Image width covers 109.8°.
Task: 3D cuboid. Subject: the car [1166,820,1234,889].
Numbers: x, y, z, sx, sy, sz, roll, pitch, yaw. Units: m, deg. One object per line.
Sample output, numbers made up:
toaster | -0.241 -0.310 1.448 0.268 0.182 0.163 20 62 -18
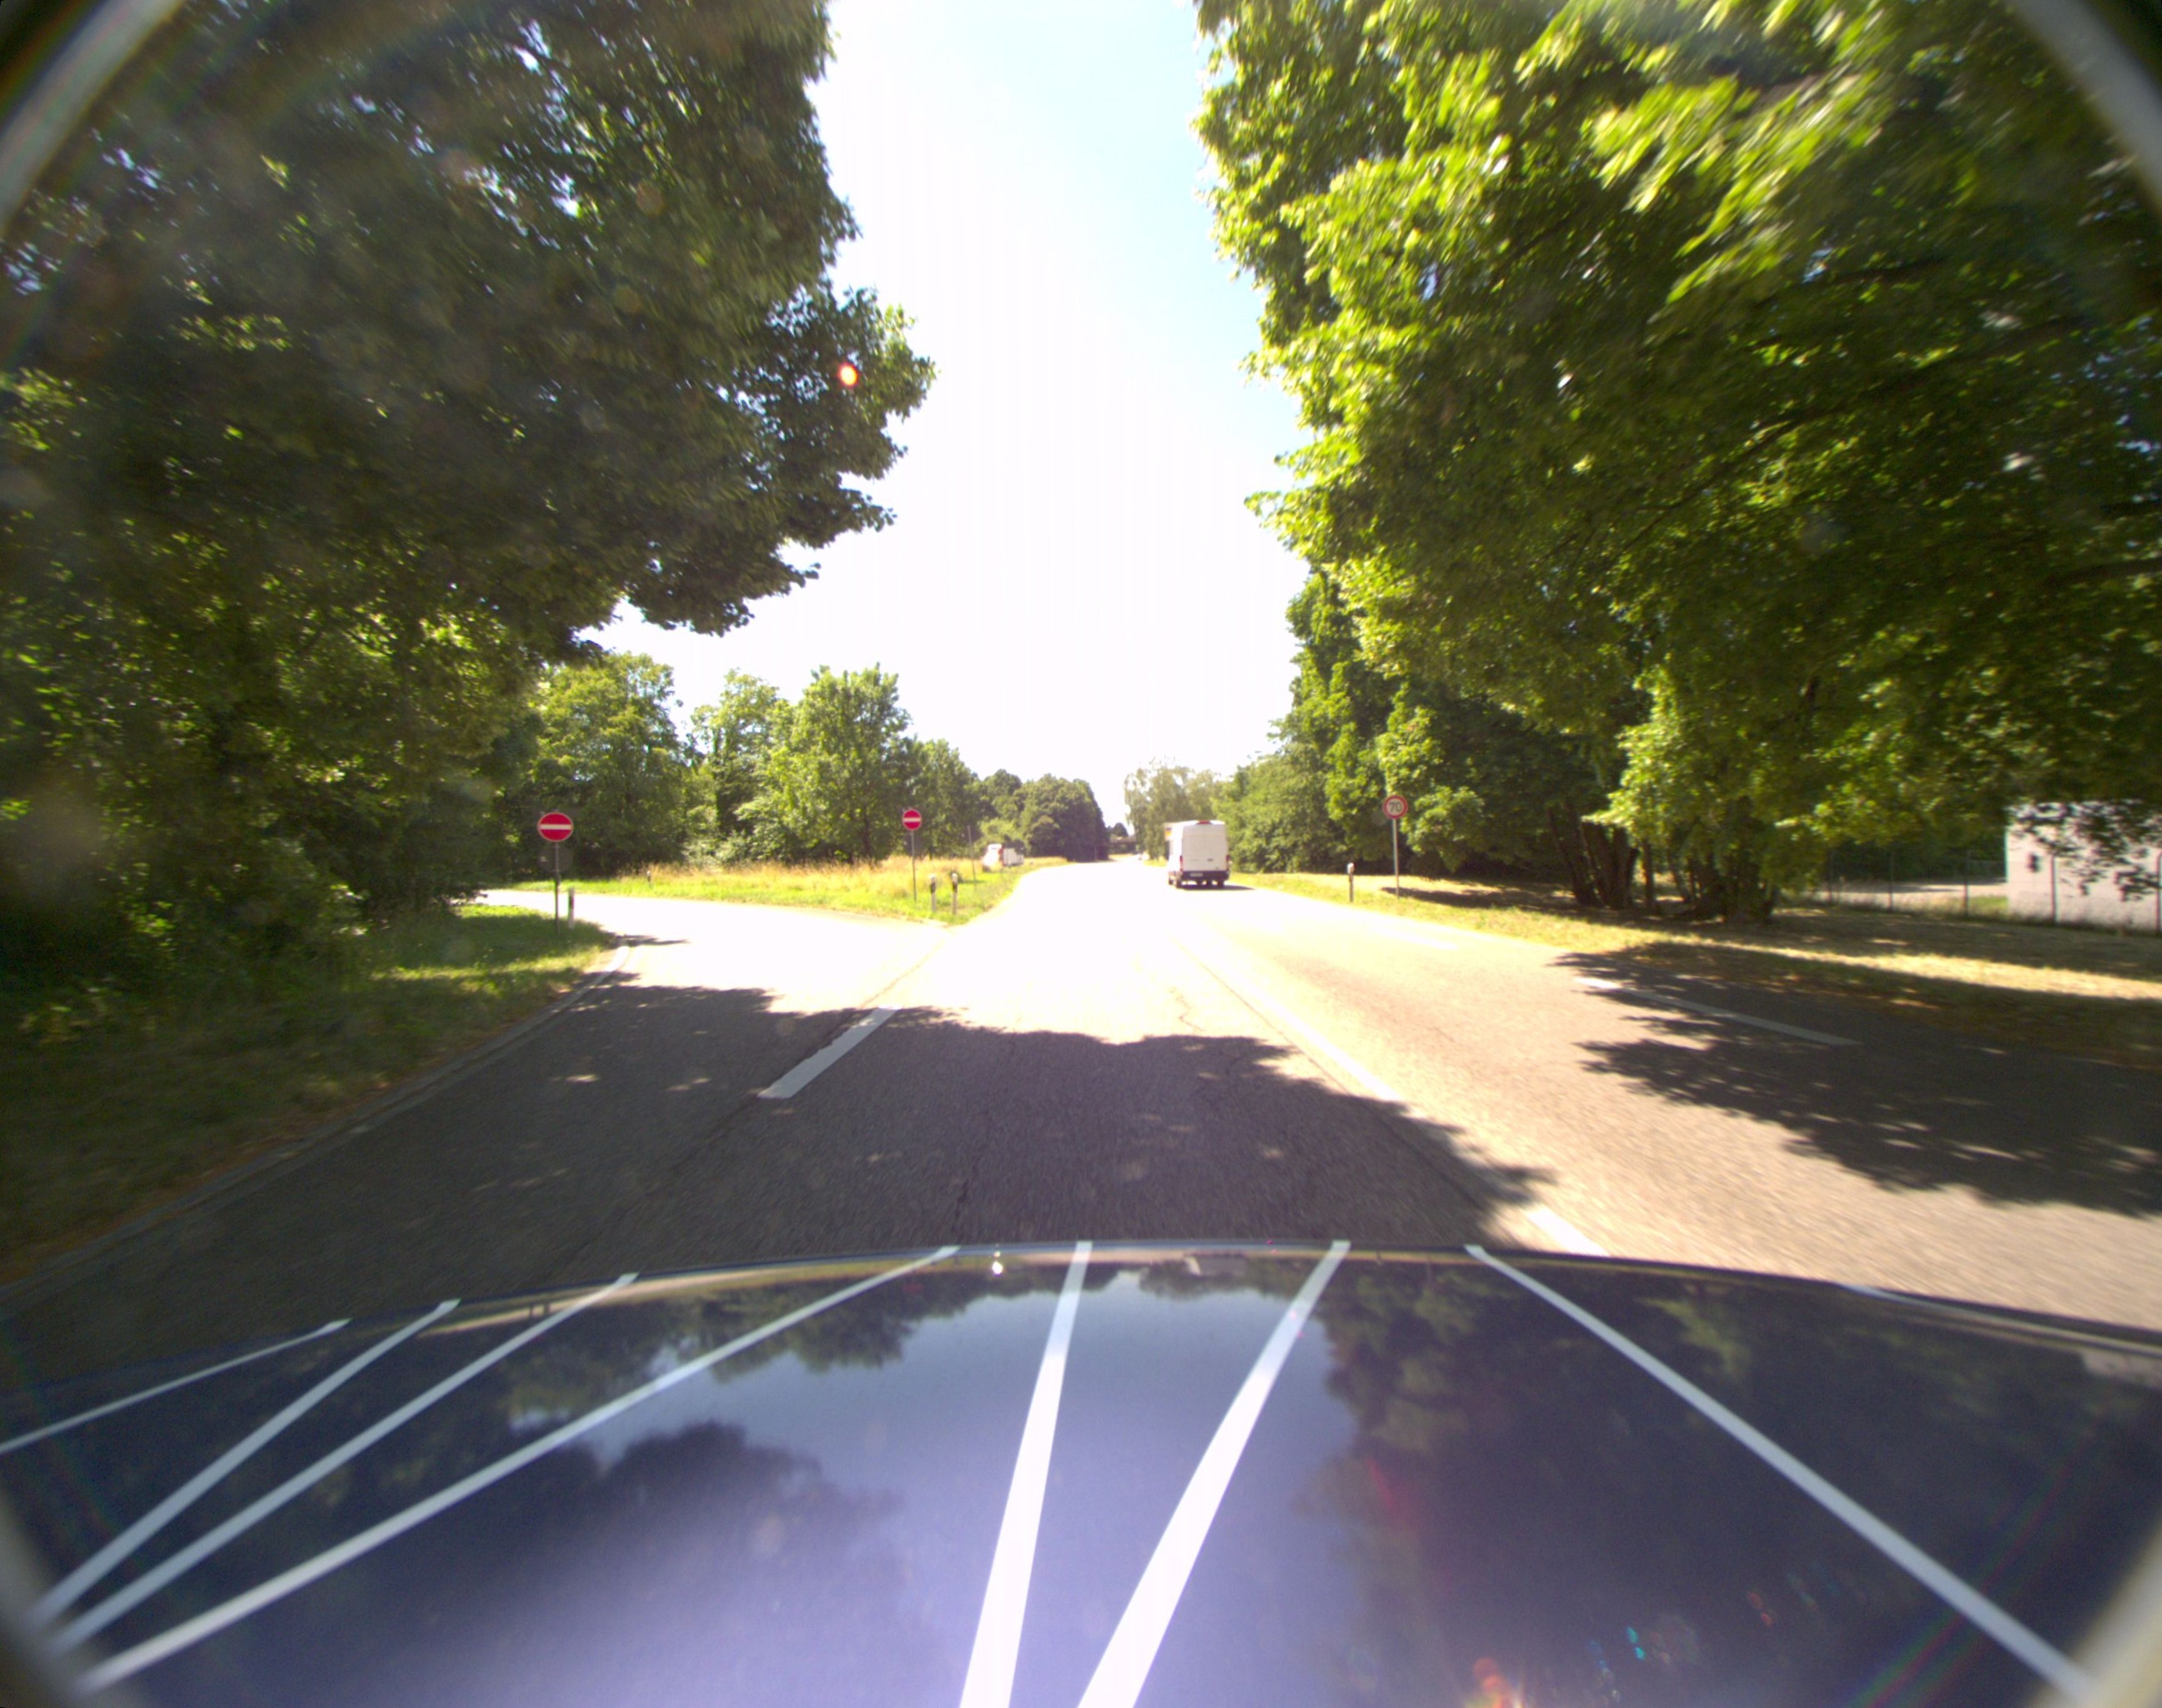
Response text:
car | 5.003 -0.023 32.965 2.078 2.612 6.784 -1 1 2

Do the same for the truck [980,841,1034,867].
truck | -8.668 -0.031 89.851 2.453 2.927 6.987 -1 1 33
